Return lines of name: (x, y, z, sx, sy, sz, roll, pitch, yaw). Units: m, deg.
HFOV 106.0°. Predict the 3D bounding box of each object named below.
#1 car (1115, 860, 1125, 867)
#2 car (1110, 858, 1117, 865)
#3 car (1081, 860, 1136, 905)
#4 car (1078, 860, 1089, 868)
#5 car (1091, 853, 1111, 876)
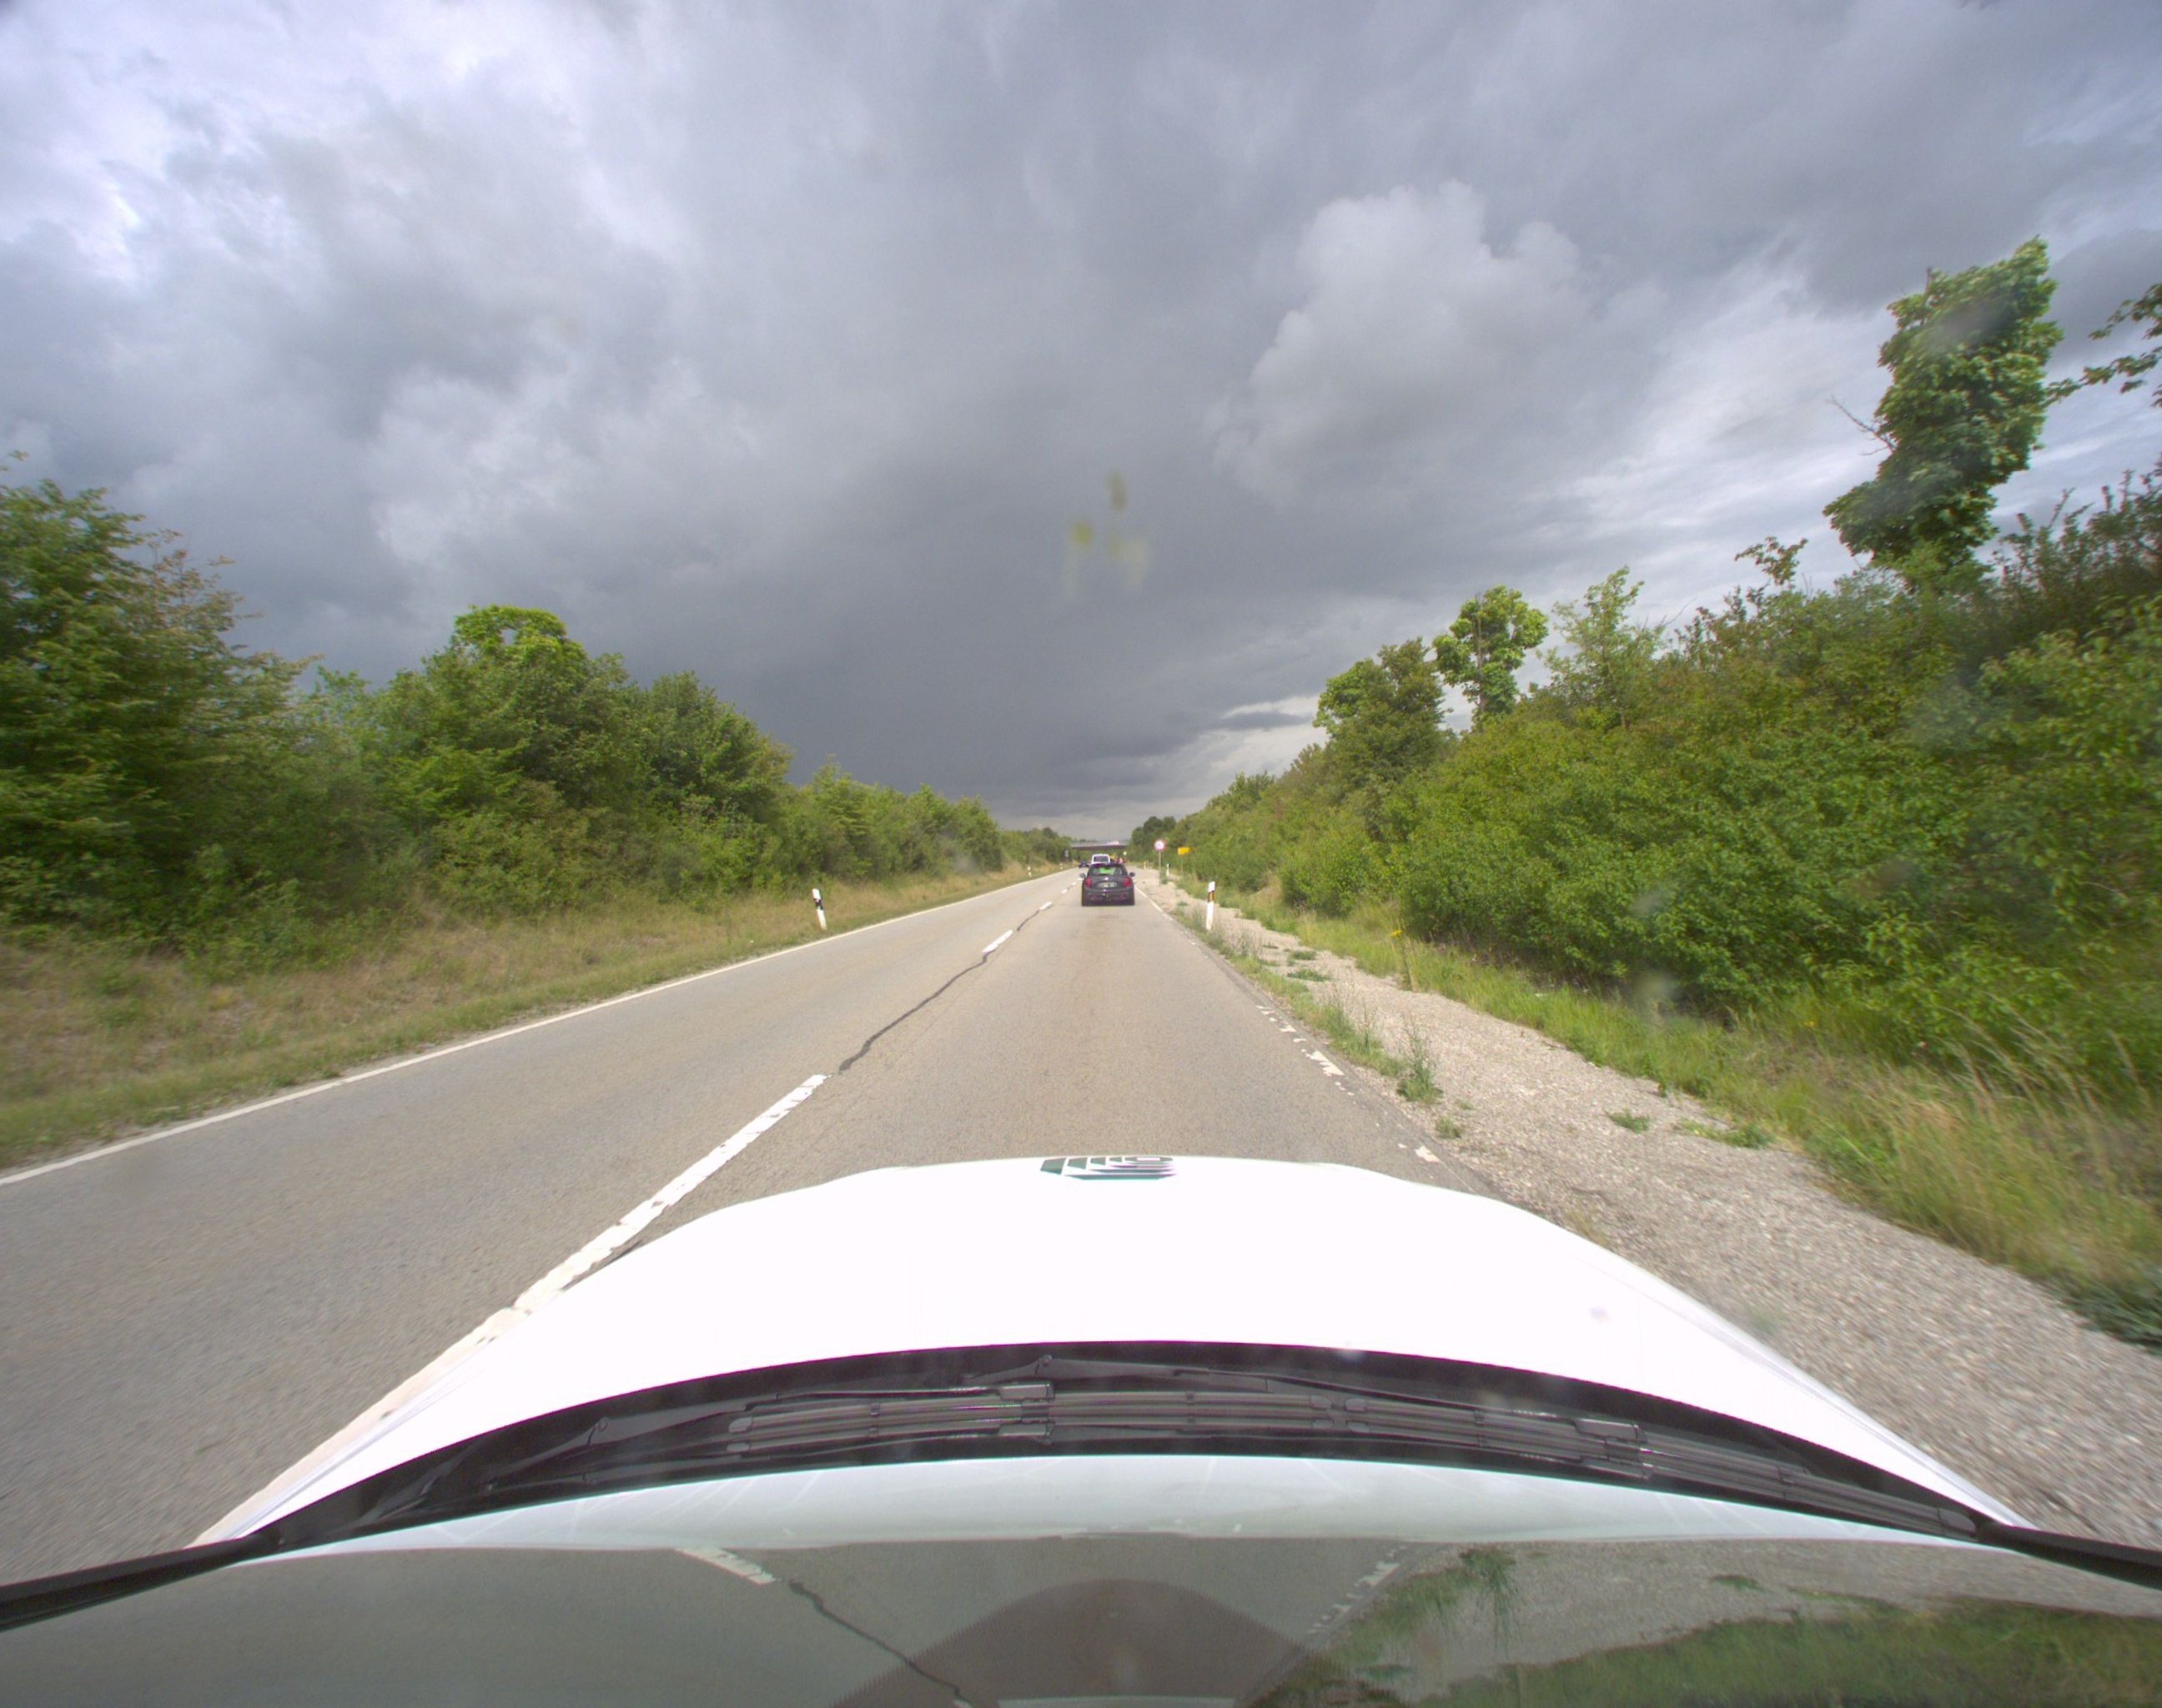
car: (9.302, 2.204, 194.262, 1.987, 1.552, 3.999, -1, 0, -1)
car: (9.187, 2.087, 228.171, 1.775, 1.706, 3.999, -1, 0, 0)
car: (0.927, 0.921, 27.873, 1.750, 1.427, 4.001, -1, 0, 1)
car: (0.483, 1.710, 142.555, 1.695, 1.330, 4.001, -2, -1, 1)
car: (1.889, 0.925, 75.636, 1.813, 2.054, 4.001, -1, -1, 1)
